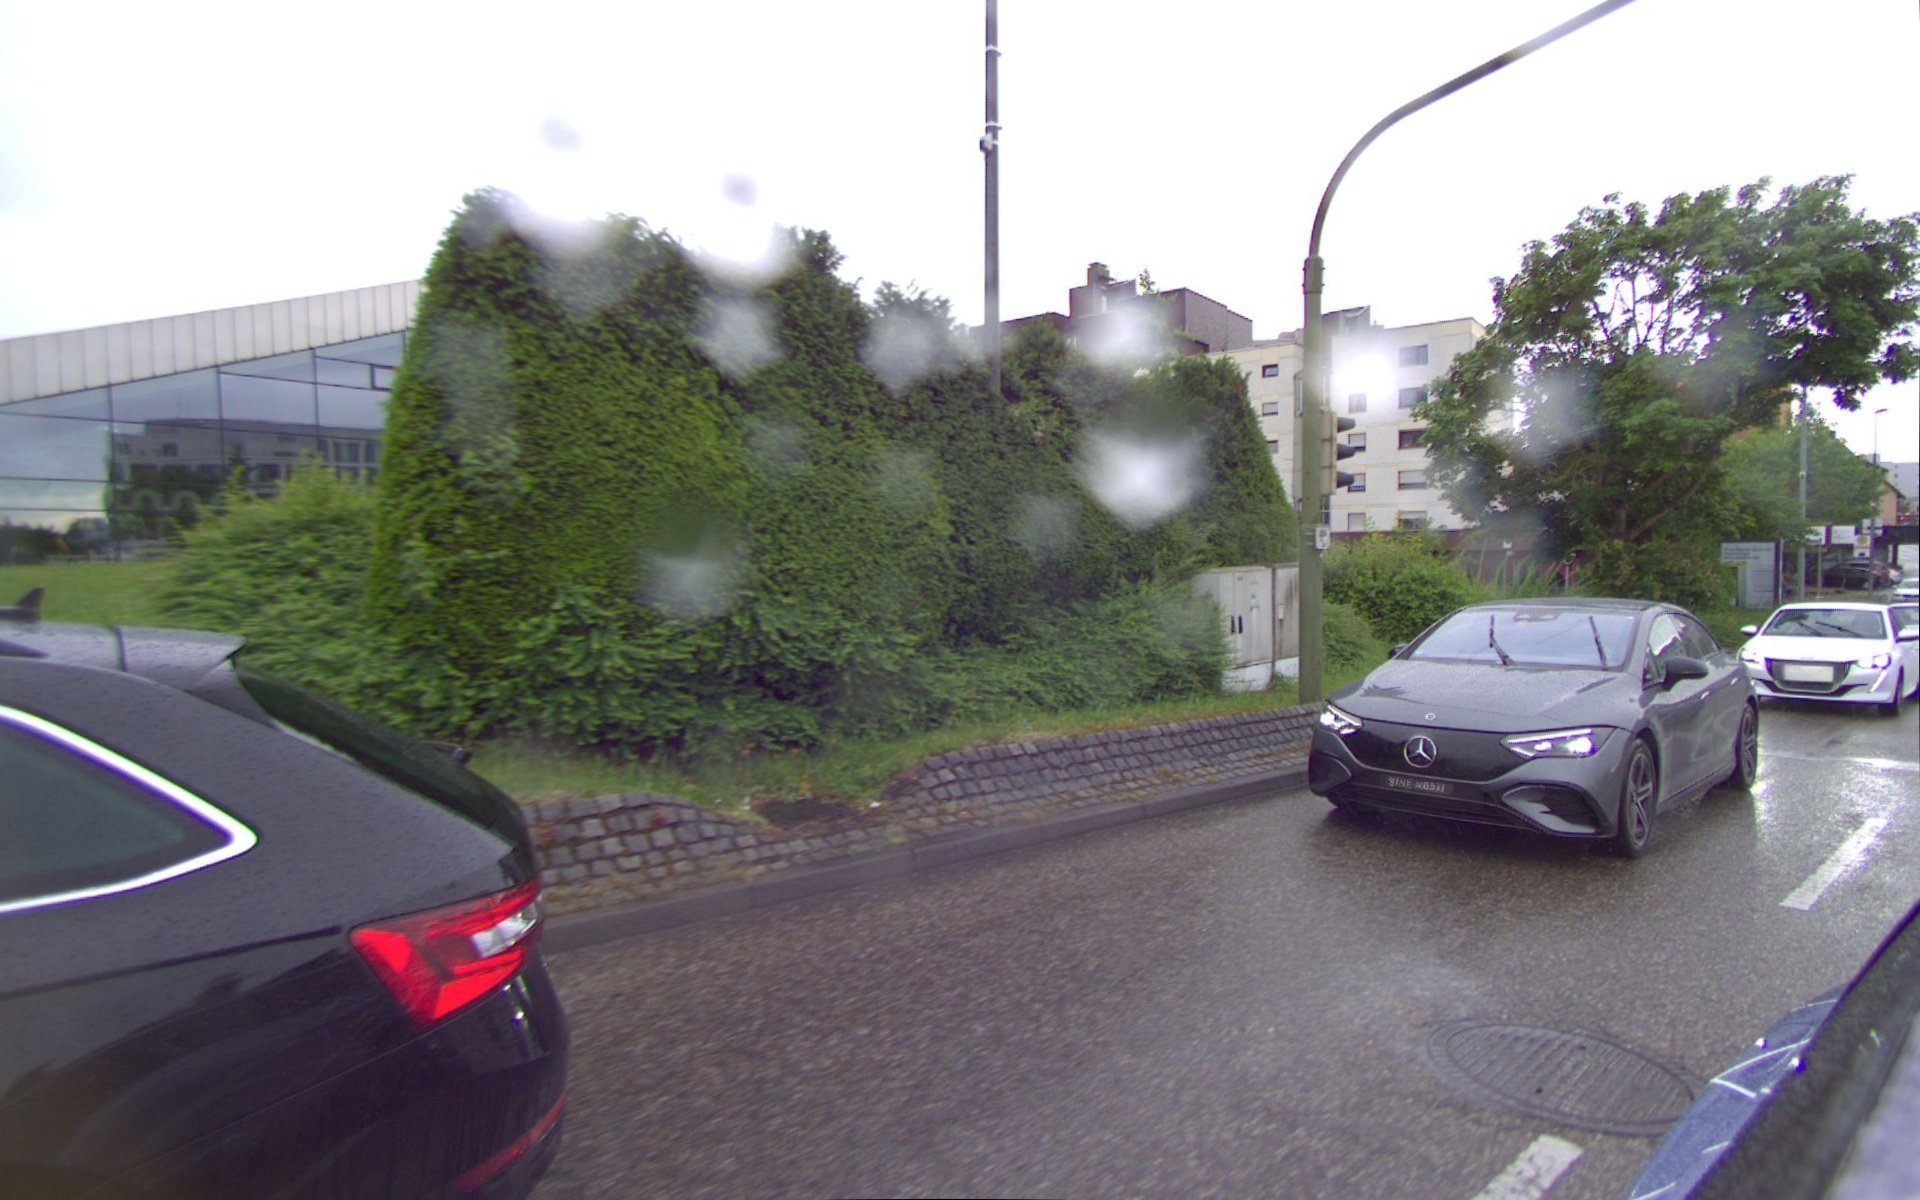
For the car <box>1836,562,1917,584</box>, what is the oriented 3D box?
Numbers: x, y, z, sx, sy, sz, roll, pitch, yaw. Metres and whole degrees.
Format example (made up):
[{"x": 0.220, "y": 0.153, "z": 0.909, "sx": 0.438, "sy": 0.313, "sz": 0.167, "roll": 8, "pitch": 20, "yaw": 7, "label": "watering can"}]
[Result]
[{"x": 62.186, "y": -1.807, "z": 68.759, "sx": 3.982, "sy": 1.438, "sz": 1.971, "roll": 0, "pitch": 1, "yaw": 41, "label": "car"}]

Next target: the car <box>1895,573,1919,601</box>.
[{"x": 48.867, "y": -0.649, "z": 51.082, "sx": 3.737, "sy": 1.367, "sz": 1.998, "roll": -1, "pitch": 4, "yaw": -40, "label": "car"}]

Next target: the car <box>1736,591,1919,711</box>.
[{"x": 12.531, "y": 0.612, "z": 14.287, "sx": 3.965, "sy": 1.415, "sz": 1.717, "roll": -1, "pitch": 1, "yaw": -40, "label": "car"}]

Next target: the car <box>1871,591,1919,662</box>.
[{"x": 21.161, "y": 0.534, "z": 21.870, "sx": 3.669, "sy": 1.394, "sz": 1.717, "roll": -1, "pitch": 1, "yaw": -40, "label": "car"}]

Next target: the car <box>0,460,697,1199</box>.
[{"x": -2.822, "y": 0.628, "z": 1.100, "sx": 4.530, "sy": 1.526, "sz": 1.956, "roll": -1, "pitch": 0, "yaw": -42, "label": "car"}]

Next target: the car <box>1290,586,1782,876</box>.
[{"x": 4.416, "y": 0.656, "z": 7.407, "sx": 4.473, "sy": 1.462, "sz": 1.834, "roll": -1, "pitch": 1, "yaw": -42, "label": "car"}]

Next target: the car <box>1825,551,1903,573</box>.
[{"x": 63.354, "y": -2.653, "z": 71.017, "sx": 3.982, "sy": 1.438, "sz": 1.678, "roll": 0, "pitch": 1, "yaw": 41, "label": "car"}]
